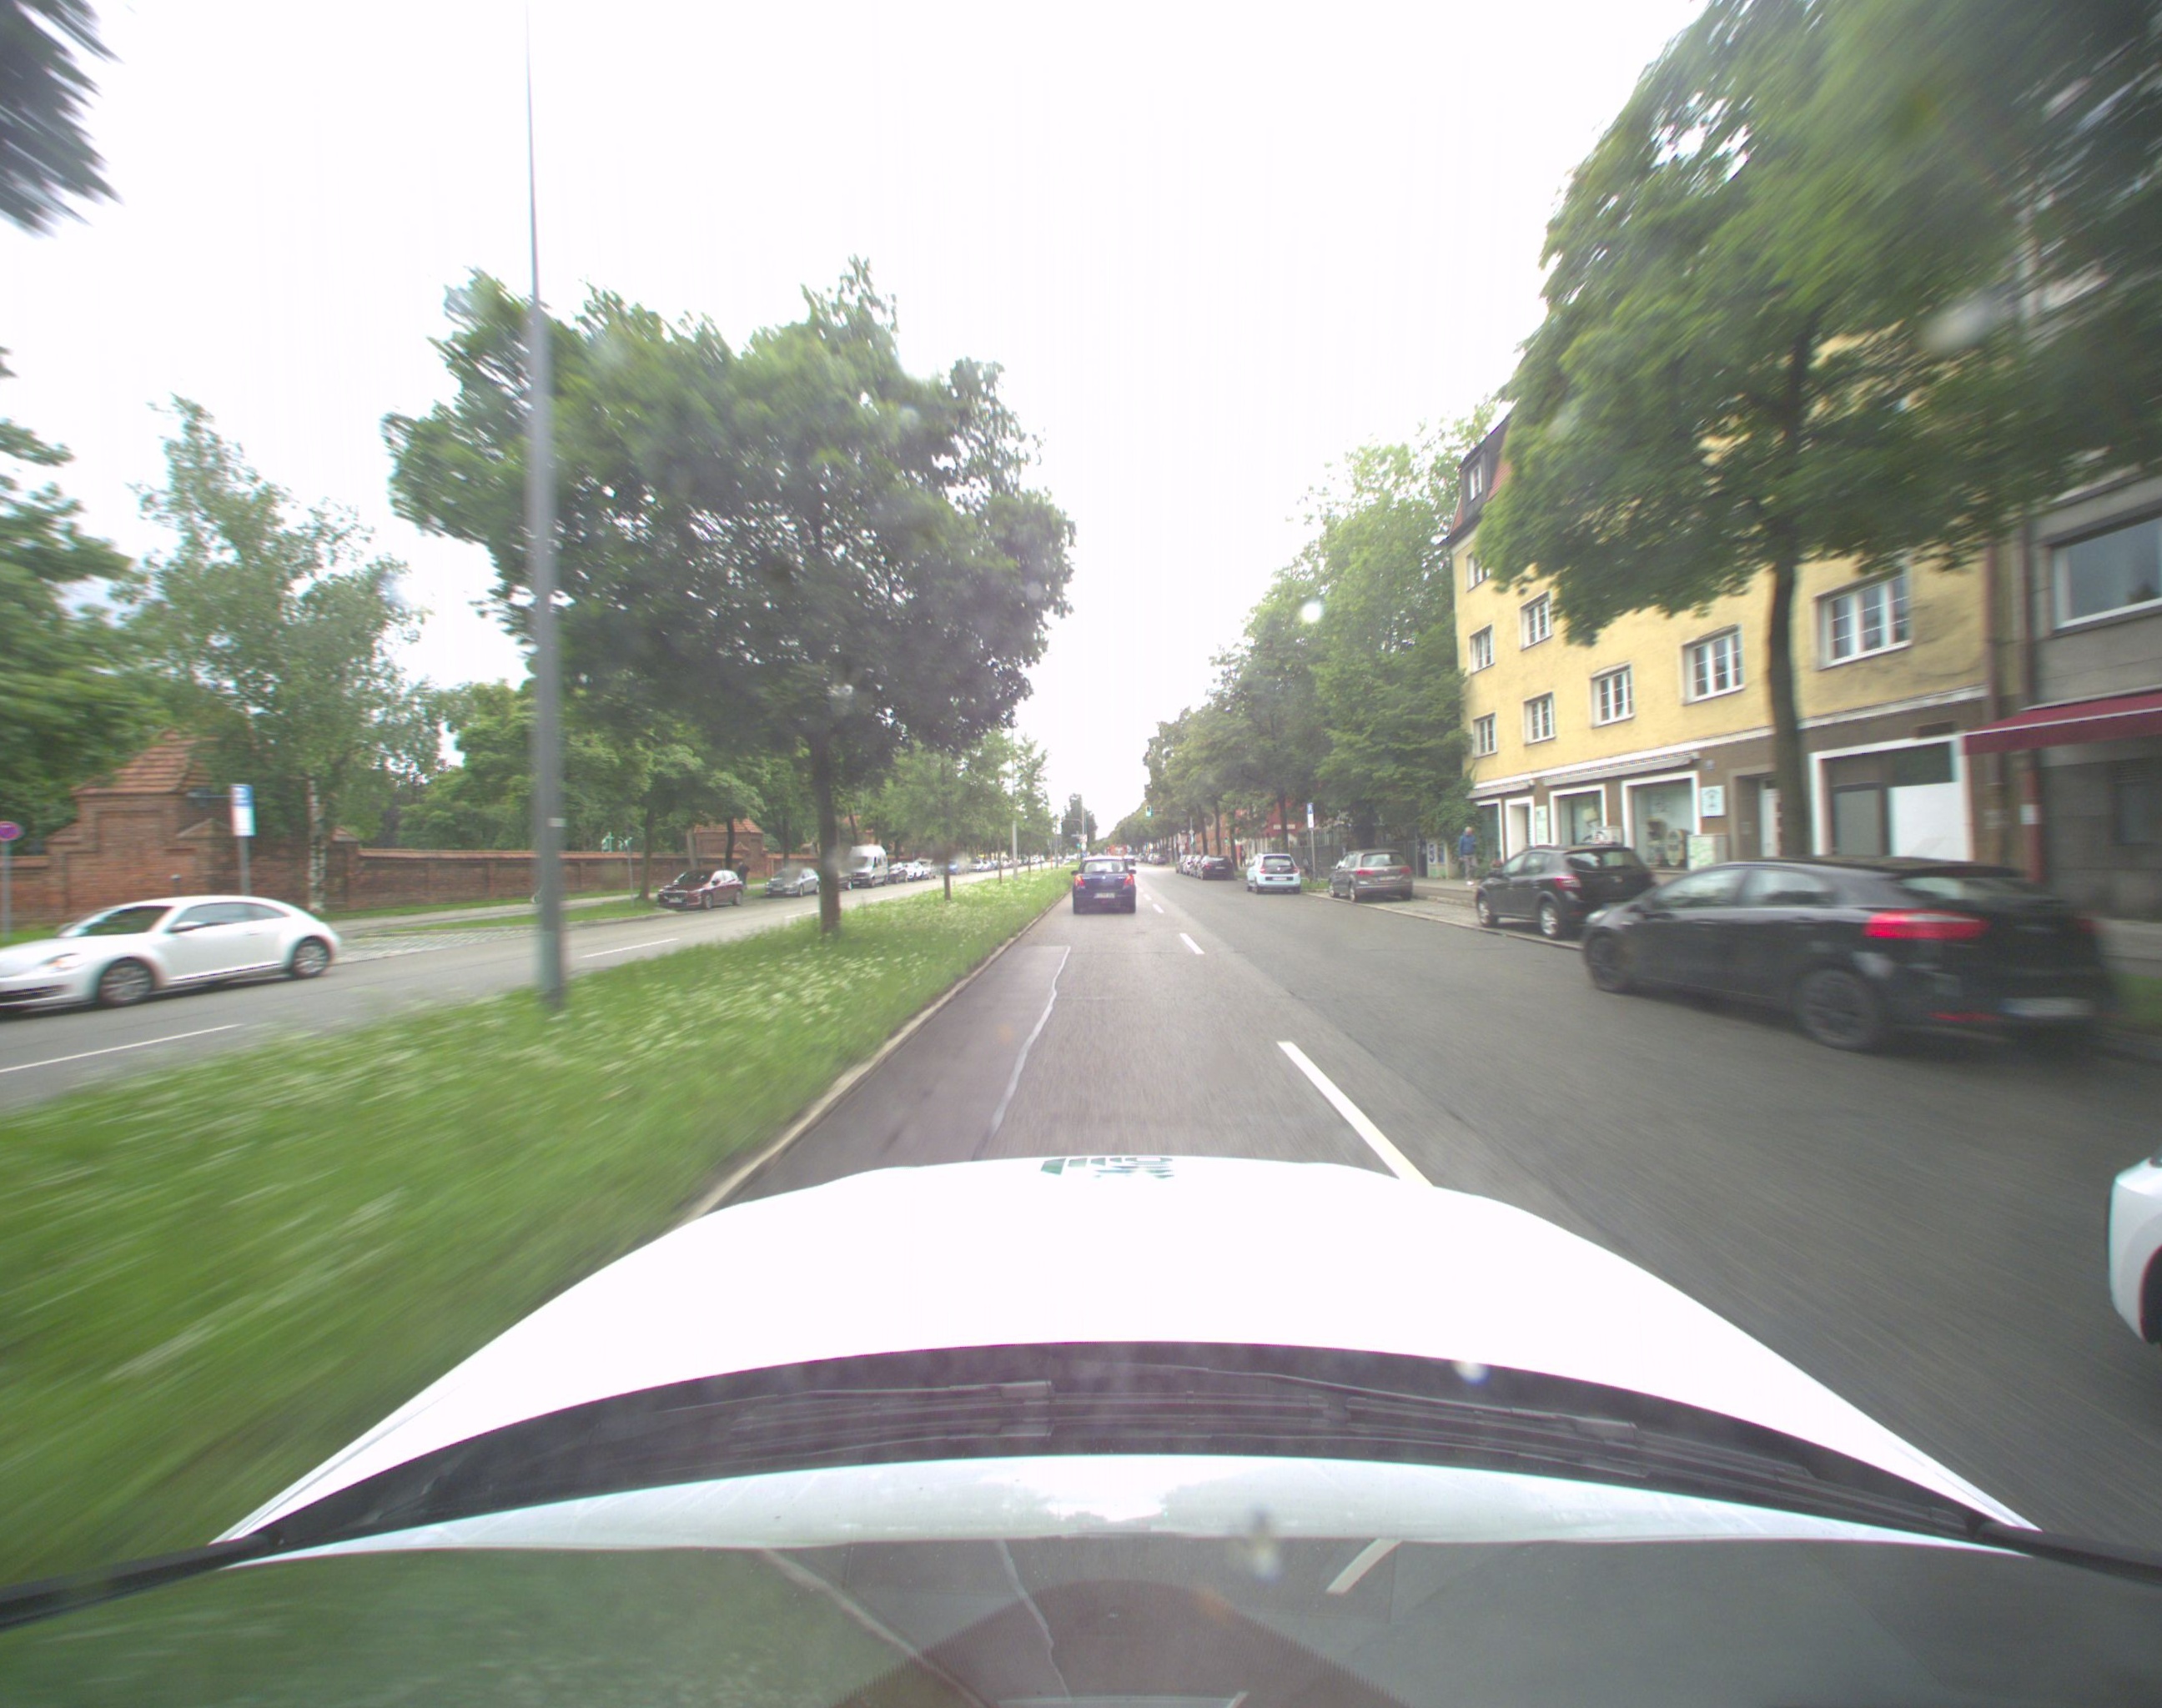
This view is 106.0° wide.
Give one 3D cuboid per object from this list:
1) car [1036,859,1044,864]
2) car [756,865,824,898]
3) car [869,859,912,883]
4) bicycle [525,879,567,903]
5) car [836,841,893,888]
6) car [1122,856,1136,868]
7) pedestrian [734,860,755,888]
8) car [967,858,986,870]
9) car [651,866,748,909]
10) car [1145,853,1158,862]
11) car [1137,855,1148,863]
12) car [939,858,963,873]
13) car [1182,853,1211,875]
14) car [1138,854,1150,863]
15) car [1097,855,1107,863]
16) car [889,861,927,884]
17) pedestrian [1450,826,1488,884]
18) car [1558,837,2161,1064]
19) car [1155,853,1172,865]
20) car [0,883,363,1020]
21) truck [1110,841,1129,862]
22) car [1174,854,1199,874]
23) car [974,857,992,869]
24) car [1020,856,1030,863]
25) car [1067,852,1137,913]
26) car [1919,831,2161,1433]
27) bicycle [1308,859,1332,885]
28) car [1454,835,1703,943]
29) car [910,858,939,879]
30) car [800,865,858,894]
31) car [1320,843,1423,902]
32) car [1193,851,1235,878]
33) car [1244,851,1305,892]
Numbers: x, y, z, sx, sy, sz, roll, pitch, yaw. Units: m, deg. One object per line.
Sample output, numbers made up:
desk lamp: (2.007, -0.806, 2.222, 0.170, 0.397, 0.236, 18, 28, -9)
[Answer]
car: (-11.858, 2.158, 234.540, 1.795, 1.534, 4.002, -2, 0, 2)
car: (-14.993, 1.372, 42.230, 1.807, 1.536, 4.442, -1, 0, 1)
car: (-14.430, 1.255, 61.860, 2.179, 1.736, 4.576, -1, 0, -1)
bicycle: (-22.476, 1.544, 34.243, 0.653, 0.936, 1.619, -1, 0, -1)
car: (-14.485, 0.646, 54.843, 2.179, 2.954, 6.189, -1, 0, -1)
car: (6.639, 1.100, 112.545, 1.815, 1.477, 4.692, 1, 0, 2)
pedestrian: (-19.091, 1.142, 46.166, 0.766, 1.567, 0.800, -2, 0, 38)
car: (-13.271, 1.256, 103.386, 1.795, 1.534, 4.002, -2, 0, 2)
car: (-15.190, 1.300, 32.686, 1.807, 1.536, 4.299, -1, 0, 1)
car: (12.354, 0.656, 143.192, 1.986, 1.530, 4.002, -2, 0, 2)
car: (12.191, 0.989, 160.500, 1.986, 1.530, 4.002, -1, 0, 2)
car: (-13.746, 1.217, 86.445, 1.700, 1.534, 4.002, -2, 0, 2)
car: (8.279, 0.682, 58.718, 1.688, 1.452, 4.127, -2, 0, 4)
car: (11.990, 0.833, 155.226, 1.986, 1.530, 4.002, -2, 0, 2)
car: (3.800, 0.923, 147.318, 1.712, 1.500, 4.302, -1, 0, 2)
car: (-14.180, 1.473, 67.109, 2.179, 1.736, 4.576, -1, 0, -1)
pedestrian: (12.926, 0.037, 27.145, 0.790, 1.855, 0.776, -3, 0, -1)
car: (6.544, 0.637, 7.404, 1.988, 1.452, 3.998, -1, 0, -1)
car: (11.599, 0.675, 114.576, 1.986, 1.530, 4.002, -2, 0, 2)
car: (-13.852, 1.343, 12.436, 1.754, 1.537, 4.316, -4, 0, 2)
truck: (6.864, -0.447, 145.331, 3.029, 3.557, 13.683, -1, 0, 3)
car: (8.305, 0.780, 64.472, 1.688, 1.452, 4.127, -2, 0, 4)
car: (-12.966, 1.171, 107.775, 1.795, 1.534, 4.002, -2, 0, 2)
car: (-11.884, 1.117, 173.791, 1.795, 1.534, 4.002, -2, 0, 2)
car: (0.633, 0.727, 22.830, 1.746, 1.505, 4.003, -1, 0, 3)
car: (3.497, 0.687, 0.889, 1.681, 1.490, 3.435, 0, 0, 1)
bicycle: (9.371, 0.674, 31.995, 0.446, 0.980, 1.799, -1, 0, 2)
car: (8.749, 0.542, 14.864, 1.986, 1.643, 4.335, -1, 0, 2)
car: (-13.852, 1.252, 72.317, 1.700, 1.734, 4.002, -2, 0, 2)
car: (-14.765, 1.480, 48.045, 1.807, 1.536, 4.820, -1, 0, 1)
car: (9.004, 0.533, 25.613, 1.808, 1.626, 4.311, -3, 0, 3)
car: (7.809, 0.581, 48.150, 1.648, 1.452, 4.707, -3, 0, 0)
car: (7.474, 0.633, 31.788, 1.646, 1.452, 4.005, -2, 0, 4)
